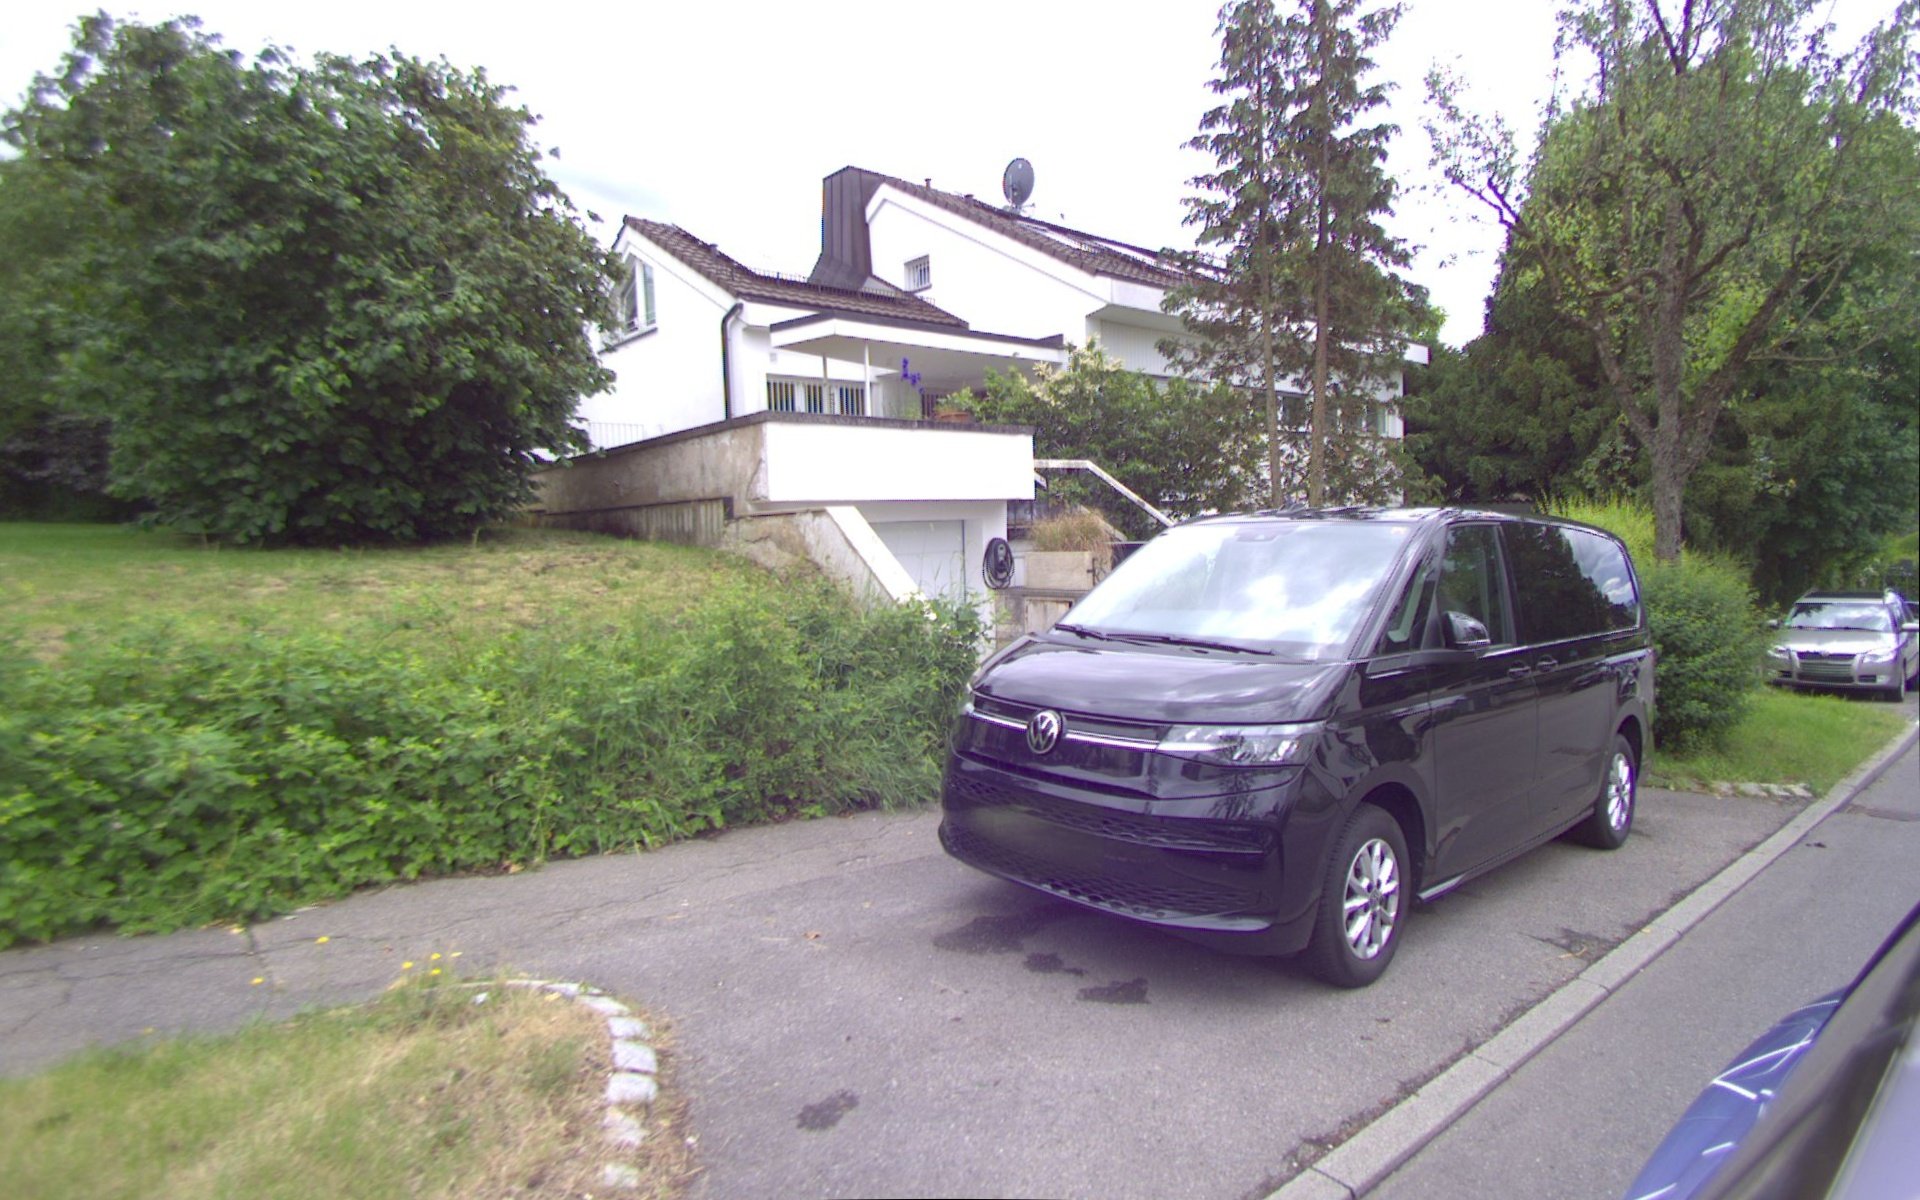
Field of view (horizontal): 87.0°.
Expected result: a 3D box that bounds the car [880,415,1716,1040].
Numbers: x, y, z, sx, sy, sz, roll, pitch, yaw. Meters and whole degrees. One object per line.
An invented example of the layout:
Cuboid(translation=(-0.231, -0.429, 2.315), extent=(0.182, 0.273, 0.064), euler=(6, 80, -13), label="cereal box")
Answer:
Cuboid(translation=(2.211, 0.325, 5.442), extent=(5.128, 1.860, 1.940), euler=(-1, 2, -41), label="car")

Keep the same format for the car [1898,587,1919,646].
Cuboid(translation=(26.704, 0.425, 27.280), extent=(4.088, 1.527, 1.700), euler=(0, 0, -41), label="car")

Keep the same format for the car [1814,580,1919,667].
Cuboid(translation=(18.841, 0.422, 20.178), extent=(4.917, 1.510, 1.998), euler=(0, 3, -41), label="car")

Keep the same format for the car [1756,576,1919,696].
Cuboid(translation=(13.972, 0.468, 15.850), extent=(3.861, 1.653, 1.719), euler=(-1, 1, -42), label="car")
